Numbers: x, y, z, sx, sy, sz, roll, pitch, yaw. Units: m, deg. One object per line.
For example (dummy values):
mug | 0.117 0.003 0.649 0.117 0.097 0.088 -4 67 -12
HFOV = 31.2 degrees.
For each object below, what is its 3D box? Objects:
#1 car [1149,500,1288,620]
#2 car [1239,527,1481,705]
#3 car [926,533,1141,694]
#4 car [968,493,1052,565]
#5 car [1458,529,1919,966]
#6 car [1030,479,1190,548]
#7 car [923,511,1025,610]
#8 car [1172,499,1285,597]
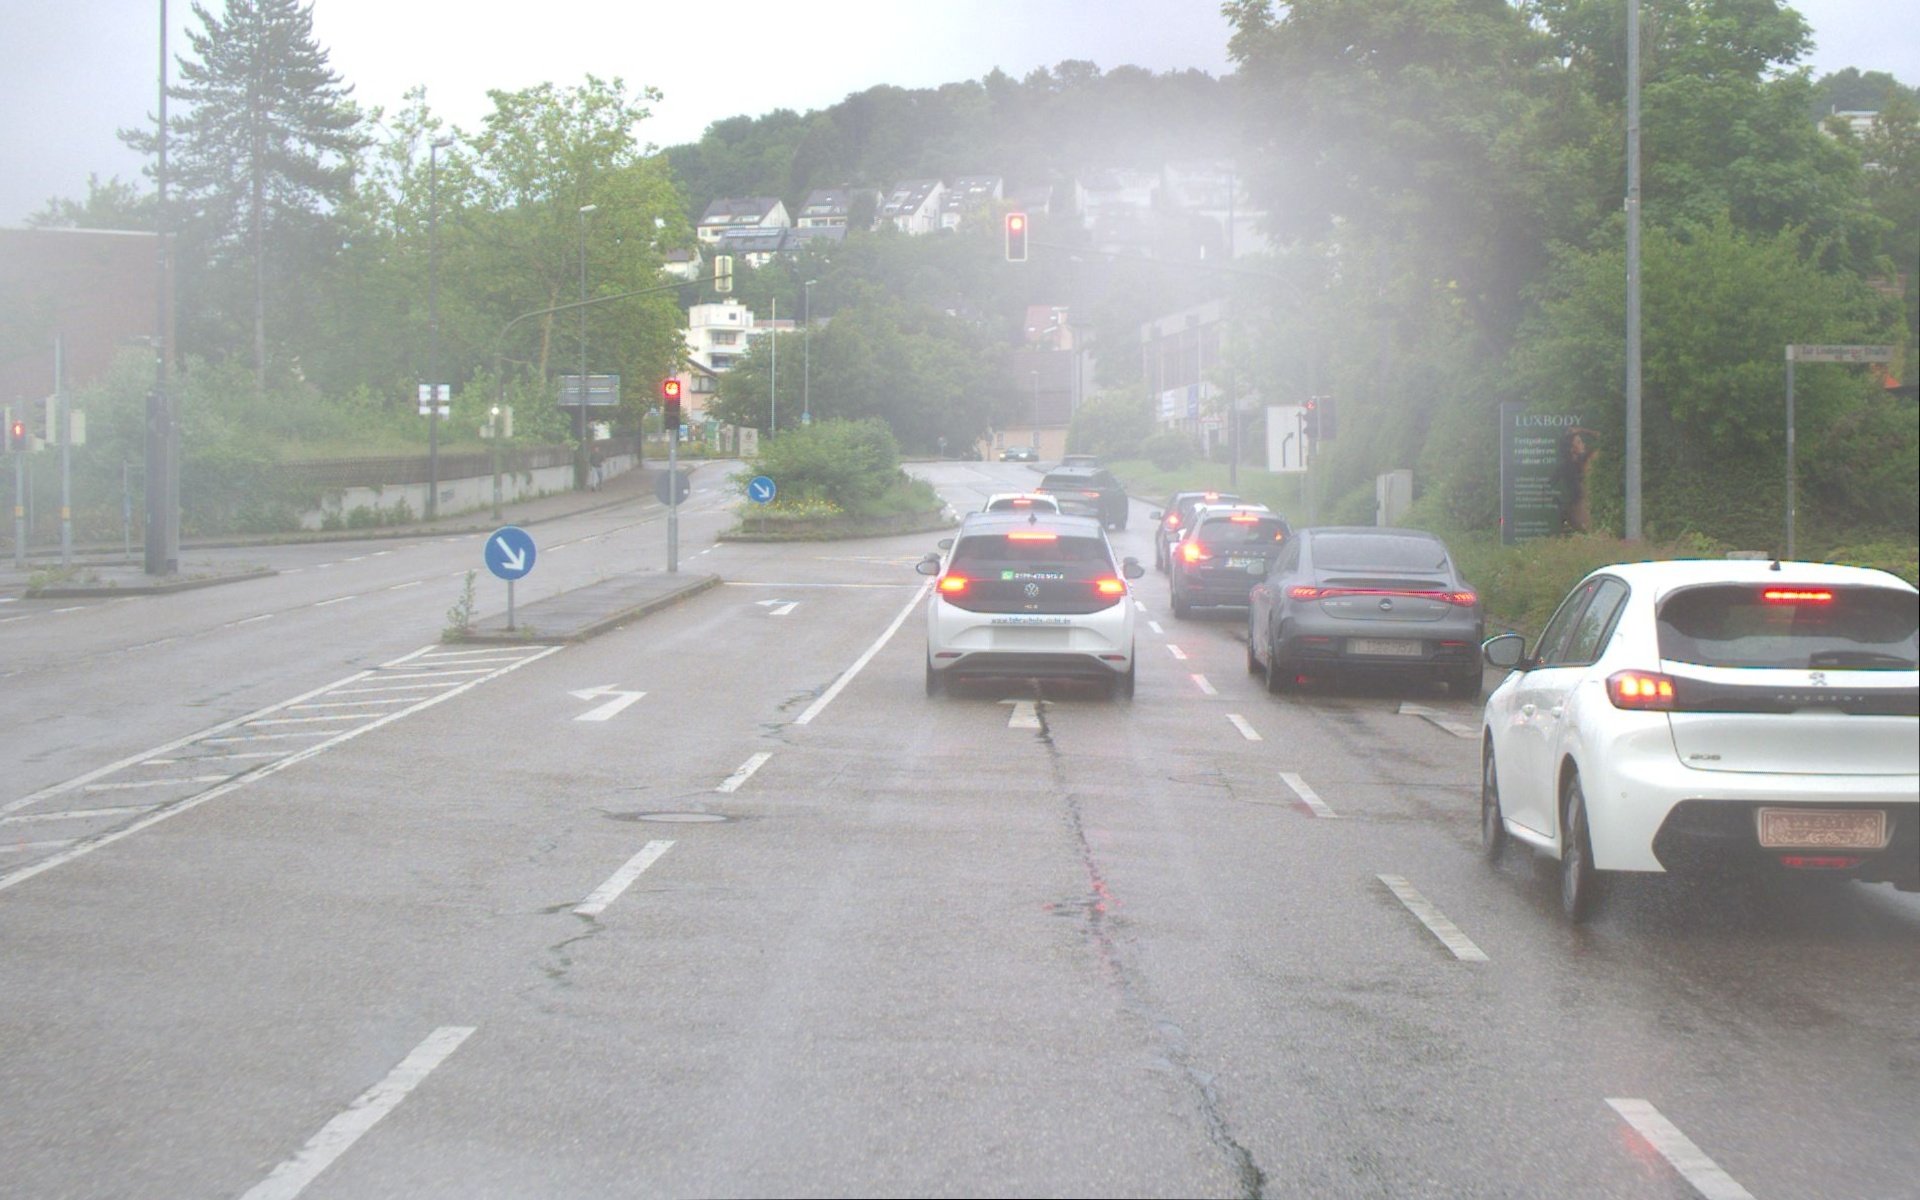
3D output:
car | 3.485 -0.517 46.773 1.648 1.480 3.366 -1 -1 1
car | 3.579 0.106 31.301 1.734 1.383 3.353 1 3 -1
car | 0.615 0.118 29.813 1.741 1.291 3.334 -1 0 0
car | 0.886 -1.228 60.009 1.385 1.123 2.610 -1 -1 2
car | 3.230 0.510 14.670 1.691 1.514 3.933 1 2 1
car | 3.686 -2.105 84.334 3.515 1.564 1.800 0 -2 -33
car | 0.159 -0.487 43.361 1.213 1.152 2.270 -1 -1 -1
car | 4.271 -0.811 55.178 1.565 1.393 3.957 -1 -1 1
